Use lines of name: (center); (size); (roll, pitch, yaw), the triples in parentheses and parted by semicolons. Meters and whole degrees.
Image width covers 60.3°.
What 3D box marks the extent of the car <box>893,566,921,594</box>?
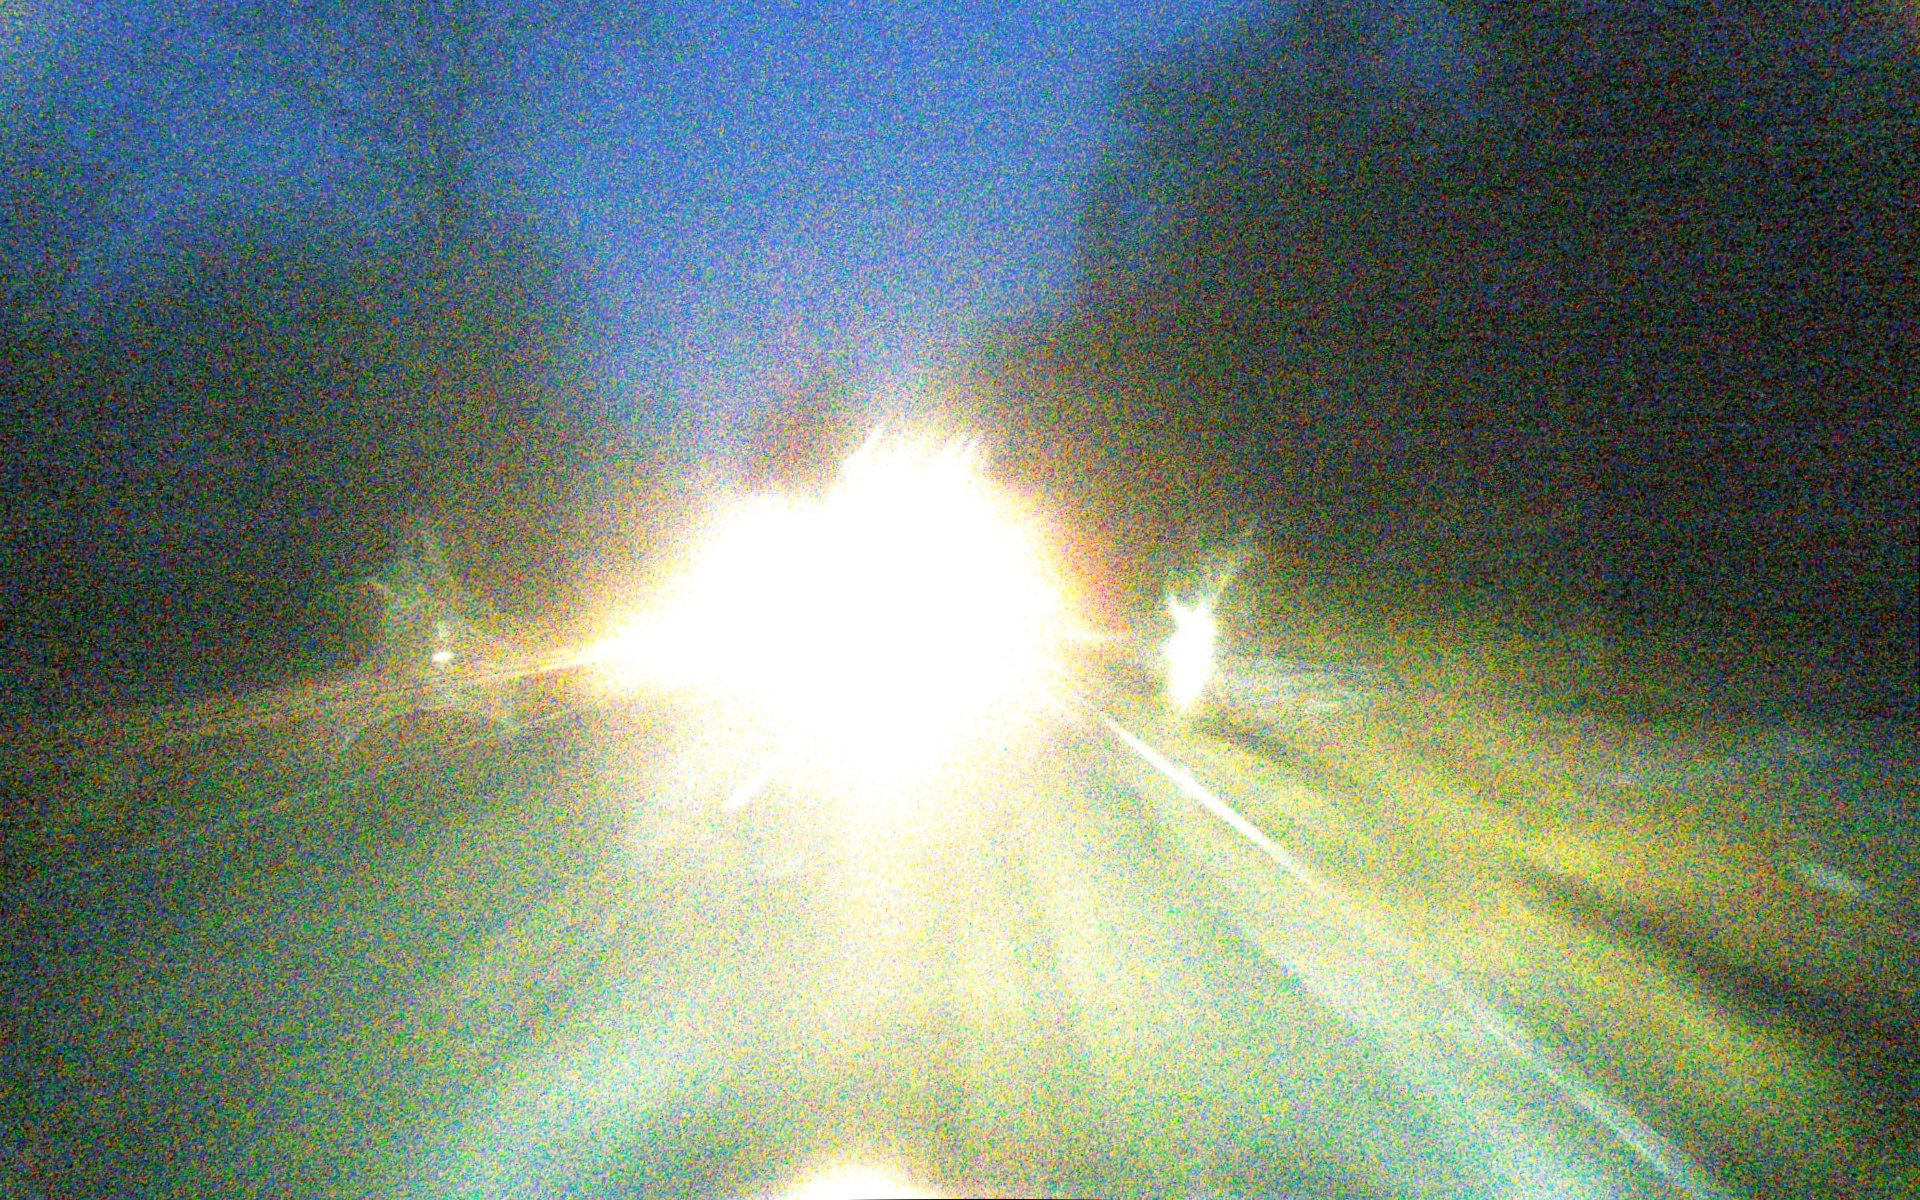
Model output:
car: (-3.998, -1.548, 125.228); (1.954, 1.811, 4.000); (-6, 3, -1)

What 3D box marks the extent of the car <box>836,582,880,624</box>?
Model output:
car: (-4.392, 0.102, 70.938); (1.603, 1.608, 3.739); (-2, 3, -7)

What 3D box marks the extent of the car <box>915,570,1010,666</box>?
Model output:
car: (0.014, 0.339, 36.580); (1.953, 1.838, 3.917); (-2, 2, -1)
